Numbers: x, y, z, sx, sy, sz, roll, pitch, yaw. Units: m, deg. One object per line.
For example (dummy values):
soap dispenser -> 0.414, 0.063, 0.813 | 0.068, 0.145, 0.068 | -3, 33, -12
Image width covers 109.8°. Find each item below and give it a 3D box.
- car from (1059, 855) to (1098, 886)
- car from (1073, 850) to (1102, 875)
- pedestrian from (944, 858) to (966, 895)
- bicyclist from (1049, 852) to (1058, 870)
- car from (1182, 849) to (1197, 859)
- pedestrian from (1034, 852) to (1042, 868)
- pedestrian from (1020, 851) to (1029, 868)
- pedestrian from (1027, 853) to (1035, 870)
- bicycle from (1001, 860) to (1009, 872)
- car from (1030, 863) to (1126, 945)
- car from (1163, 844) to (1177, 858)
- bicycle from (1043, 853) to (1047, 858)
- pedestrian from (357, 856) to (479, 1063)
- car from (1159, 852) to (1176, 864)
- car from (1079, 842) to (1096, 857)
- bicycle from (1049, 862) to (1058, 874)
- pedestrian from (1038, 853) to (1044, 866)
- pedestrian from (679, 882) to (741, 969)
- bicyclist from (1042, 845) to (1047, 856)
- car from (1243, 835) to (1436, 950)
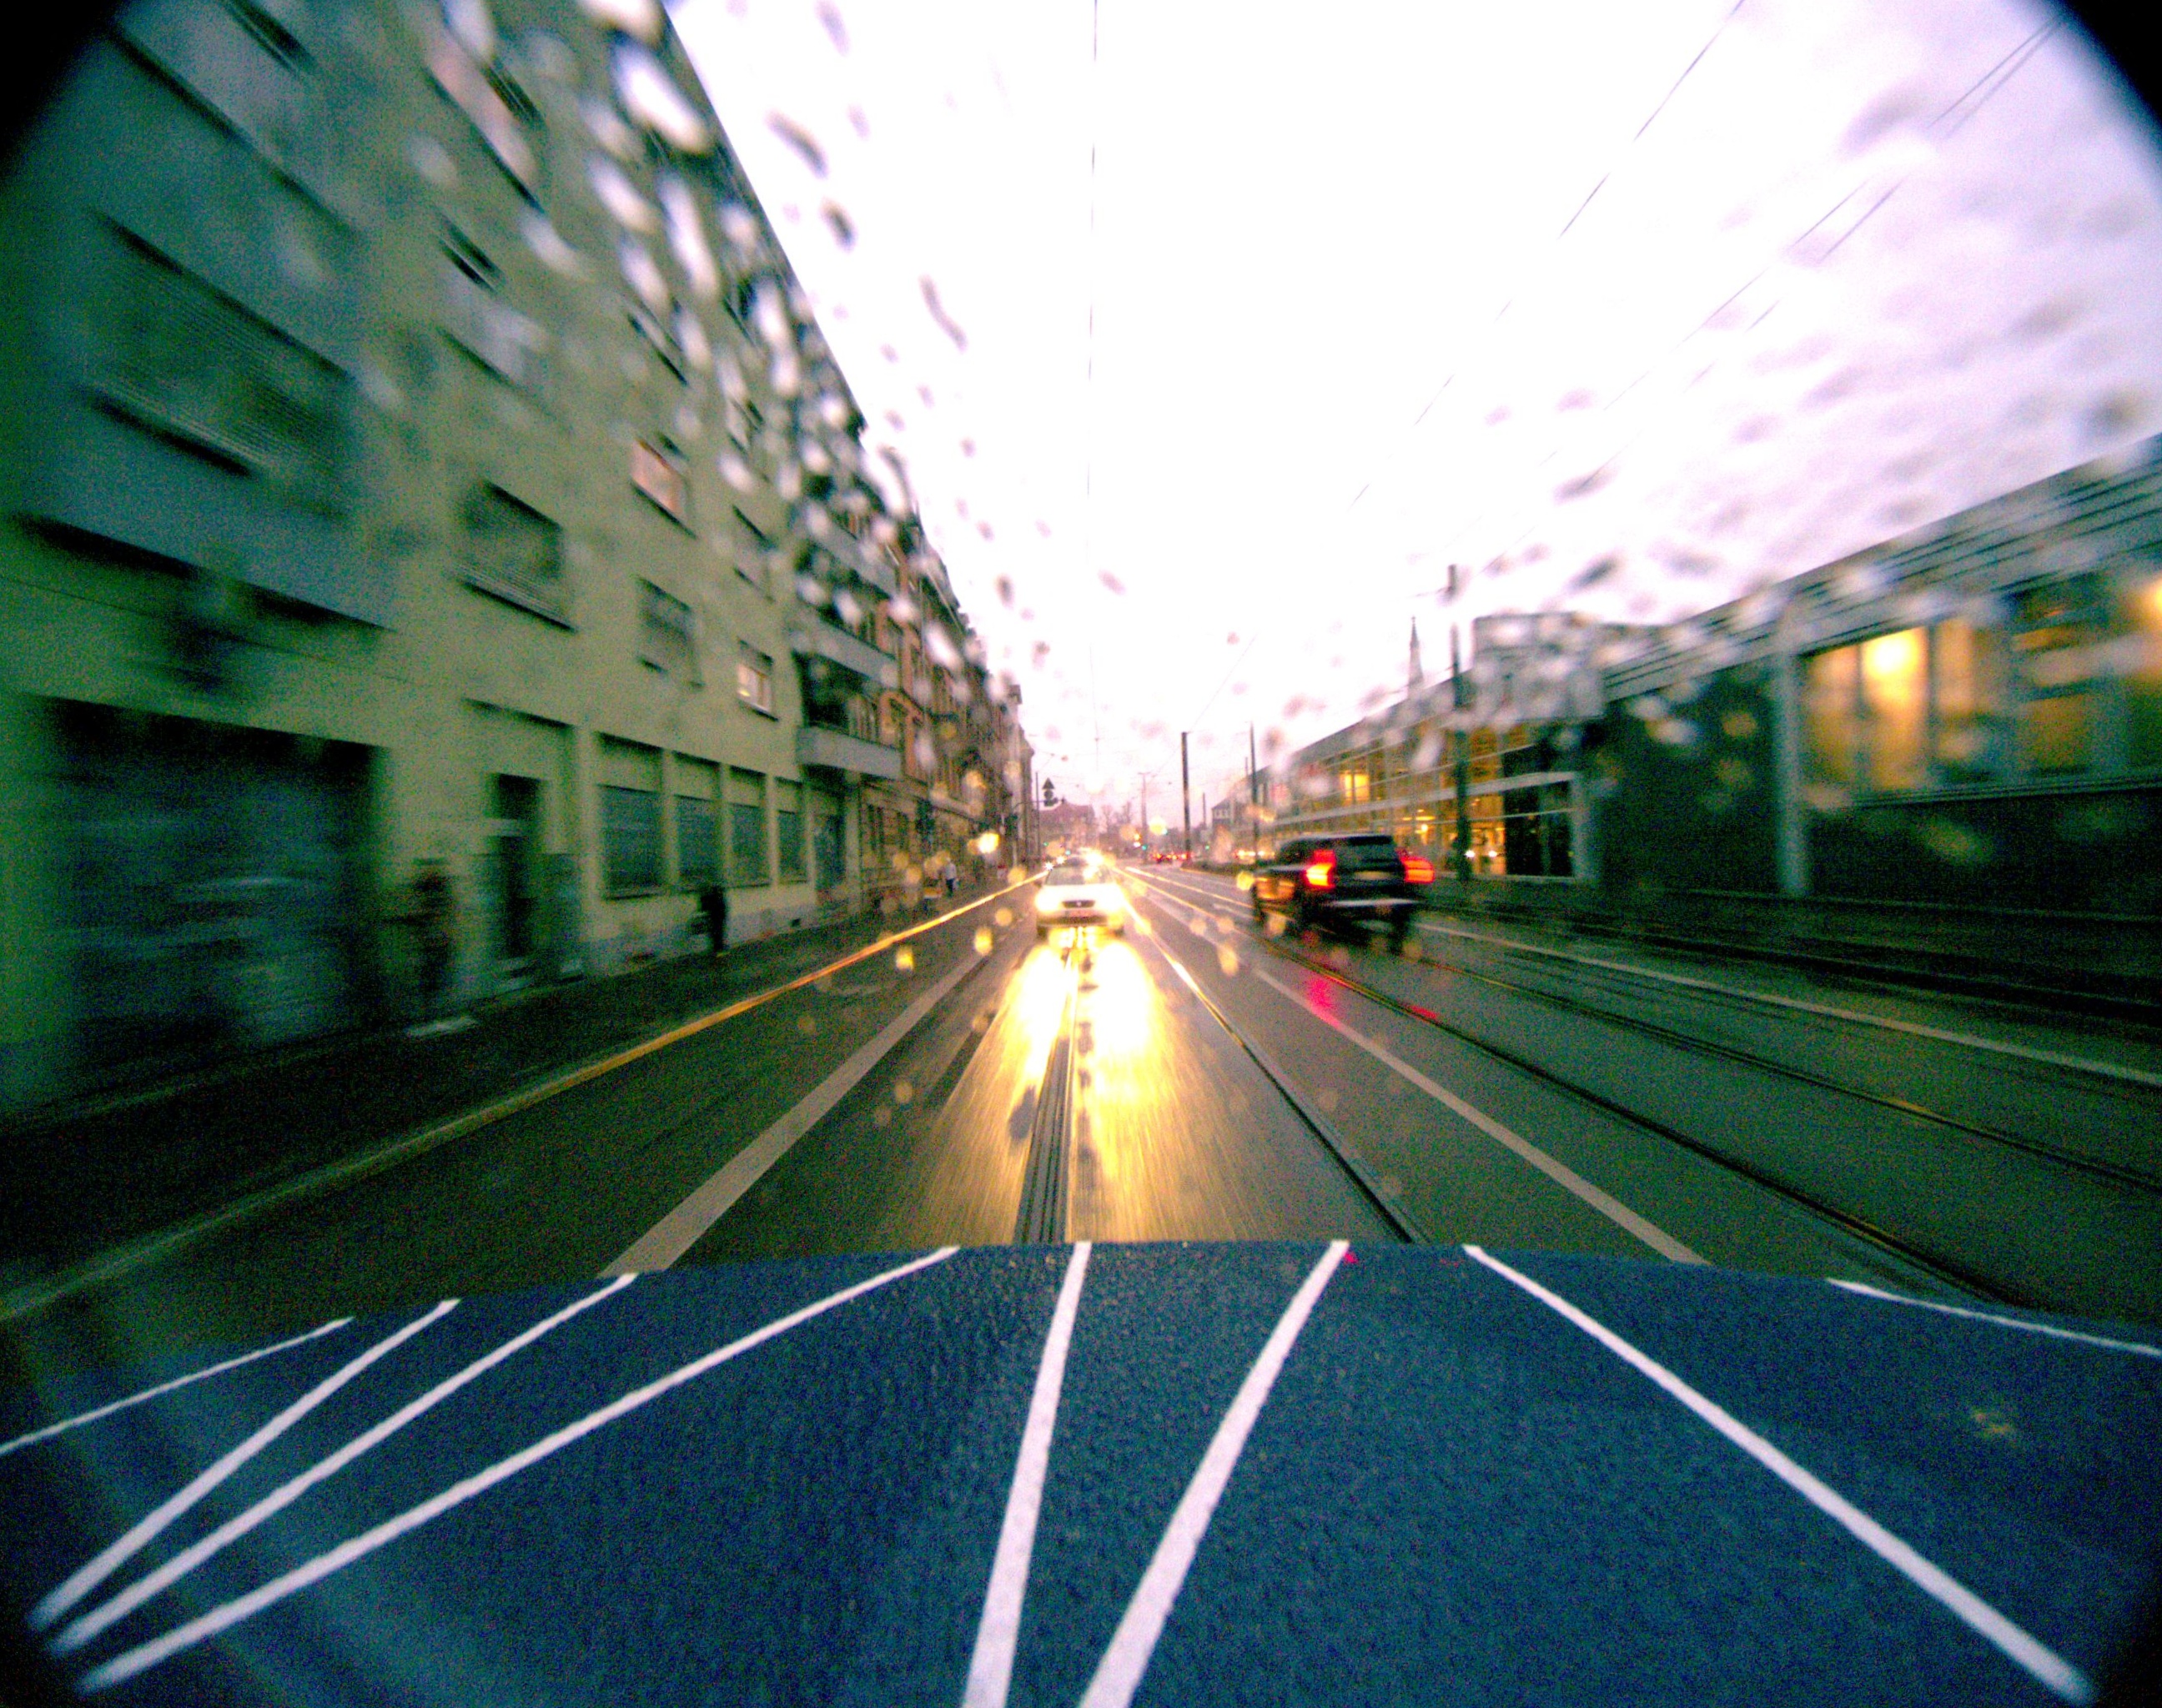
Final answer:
car -> -0.069, 0.811, 39.441 | 1.797, 1.415, 4.000 | -2, 1, 2
car -> 0.446, 0.531, 51.526 | 1.824, 1.565, 4.000 | -2, 1, 1
pedestrian -> -5.580, 0.996, 33.659 | 0.788, 1.588, 0.741 | -2, 1, -1
bicyclist -> -2.429, 0.644, 66.983 | 0.727, 1.525, 0.785 | -2, 1, 0
car -> 17.694, -0.044, 123.714 | 1.998, 1.413, 4.588 | -2, 0, 3
pedestrian -> -4.457, 0.620, 79.255 | 0.777, 1.734, 0.673 | -2, 1, 1
pedestrian -> -5.875, 0.579, 79.182 | 0.777, 1.734, 0.673 | -2, 1, 1
pedestrian -> -5.292, 0.811, 80.072 | 0.777, 1.734, 0.673 | -2, 1, 1
bicycle -> -5.992, 0.971, 60.200 | 0.398, 0.906, 1.866 | -2, 0, 0
car -> 0.021, 0.984, 16.565 | 1.797, 1.415, 4.000 | -2, 1, 2
car -> 14.398, -0.495, 123.138 | 1.998, 2.002, 4.685 | -3, 1, 4
bicycle -> -5.883, 0.248, 123.459 | 0.609, 0.757, 1.860 | -2, 1, -1
pedestrian -> -6.234, 0.940, 7.194 | 0.601, 1.808, 0.774 | -3, 1, -27
car -> 11.444, 0.523, 101.113 | 1.845, 1.569, 4.442 | -2, 0, 2
car -> 0.881, -0.569, 99.062 | 2.018, 1.809, 3.688 | -3, 1, 1
bicycle -> -2.404, 1.255, 67.017 | 0.725, 0.985, 2.212 | -2, 1, 0
pedestrian -> -4.667, 0.659, 89.444 | 0.633, 1.539, 0.710 | -3, 1, -5
pedestrian -> -6.247, 1.189, 12.835 | 0.601, 1.369, 0.728 | -3, 1, 0
bicyclist -> -5.925, -0.576, 123.509 | 0.747, 1.869, 1.111 | -2, 1, -2
car -> 4.424, 0.583, 13.890 | 1.880, 1.700, 4.760 | -1, 0, 0
